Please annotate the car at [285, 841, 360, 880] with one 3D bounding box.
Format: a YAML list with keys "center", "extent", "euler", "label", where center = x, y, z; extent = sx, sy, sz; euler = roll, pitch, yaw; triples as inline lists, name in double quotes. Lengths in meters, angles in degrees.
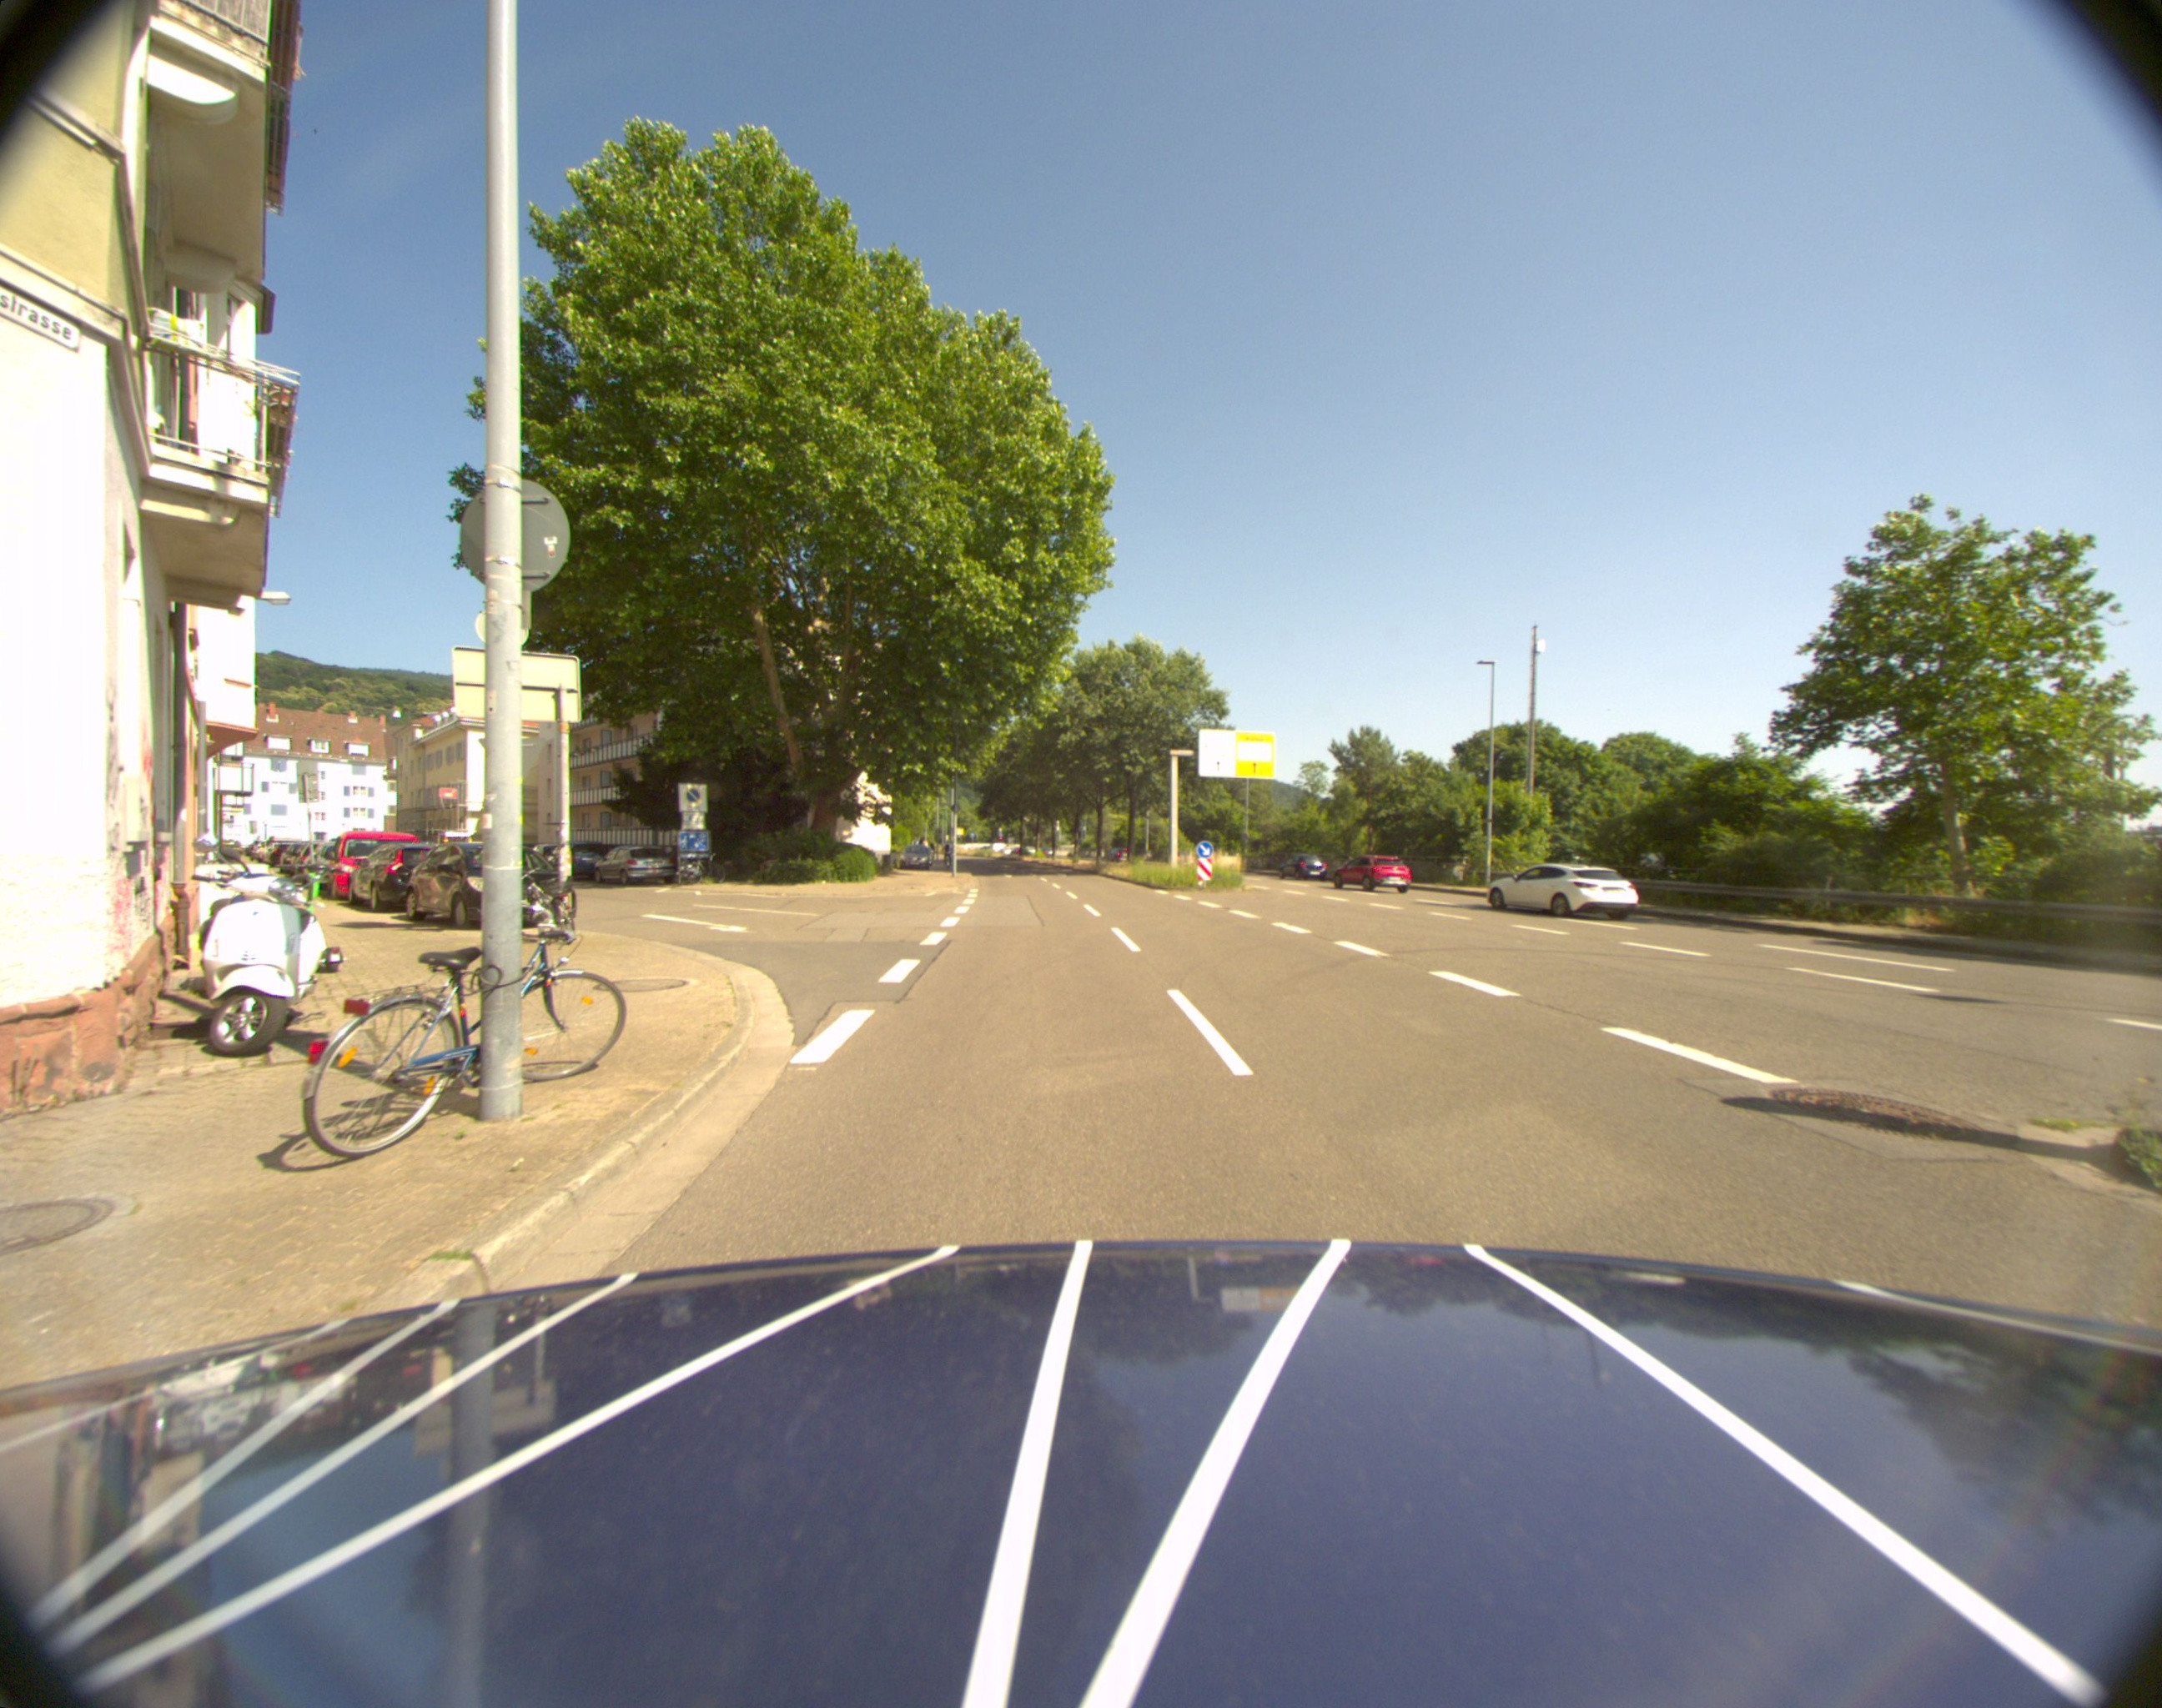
- center: [-31.727, 0.238, 31.756]
  extent: [3.988, 1.477, 1.873]
  euler: [1, 1, 40]
  label: "car"

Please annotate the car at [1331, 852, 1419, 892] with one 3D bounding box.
- center: [12.410, 0.731, 32.313]
  extent: [1.803, 1.511, 3.961]
  euler: [2, 1, -7]
  label: "car"

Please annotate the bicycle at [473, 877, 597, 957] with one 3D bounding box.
- center: [-8.056, 0.891, 11.200]
  extent: [1.878, 1.028, 0.627]
  euler: [1, 1, 24]
  label: "bicycle"

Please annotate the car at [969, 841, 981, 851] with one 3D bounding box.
- center: [-19.586, -1.554, 140.029]
  extent: [1.636, 1.801, 3.586]
  euler: [1, 1, -17]
  label: "car"

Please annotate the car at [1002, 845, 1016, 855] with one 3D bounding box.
- center: [-11.882, -0.667, 125.252]
  extent: [1.636, 1.487, 3.674]
  euler: [0, 1, -17]
  label: "car"

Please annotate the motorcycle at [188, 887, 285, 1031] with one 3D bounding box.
- center: [-7.450, 0.866, 6.688]
  extent: [1.445, 1.088, 0.430]
  euler: [1, 0, 37]
  label: "motorcycle"

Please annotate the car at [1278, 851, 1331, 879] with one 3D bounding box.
- center: [12.988, 0.602, 44.414]
  extent: [1.646, 1.492, 3.647]
  euler: [2, 1, -6]
  label: "car"

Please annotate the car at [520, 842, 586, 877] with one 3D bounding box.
- center: [-24.519, 0.240, 35.249]
  extent: [3.660, 1.511, 1.758]
  euler: [1, 1, 43]
  label: "car"

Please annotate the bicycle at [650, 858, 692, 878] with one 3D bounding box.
- center: [-17.434, 0.609, 32.340]
  extent: [0.382, 0.829, 1.510]
  euler: [3, 1, 41]
  label: "bicycle"

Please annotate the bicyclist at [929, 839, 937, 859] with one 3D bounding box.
- center: [-14.578, -0.509, 75.071]
  extent: [0.648, 1.883, 0.838]
  euler: [1, 1, -17]
  label: "bicyclist"

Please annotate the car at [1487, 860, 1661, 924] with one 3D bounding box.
- center: [13.525, 0.973, 21.210]
  extent: [1.869, 1.444, 4.202]
  euler: [2, 1, -4]
  label: "car"

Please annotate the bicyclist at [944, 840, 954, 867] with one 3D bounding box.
- center: [-8.254, -0.038, 47.540]
  extent: [0.541, 1.624, 0.589]
  euler: [1, 1, -5]
  label: "bicyclist"

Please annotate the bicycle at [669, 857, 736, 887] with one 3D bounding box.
- center: [-13.396, 0.609, 26.916]
  extent: [0.970, 0.978, 1.902]
  euler: [2, 1, 38]
  label: "bicycle"

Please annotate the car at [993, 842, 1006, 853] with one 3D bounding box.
- center: [-14.207, -1.146, 131.811]
  extent: [1.636, 1.904, 3.674]
  euler: [1, 1, -16]
  label: "car"

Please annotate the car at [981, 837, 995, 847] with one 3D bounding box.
- center: [-18.471, -2.321, 150.651]
  extent: [2.002, 1.856, 3.993]
  euler: [2, 1, -18]
  label: "car"

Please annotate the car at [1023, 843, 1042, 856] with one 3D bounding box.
- center: [-7.144, -0.697, 112.057]
  extent: [2.001, 1.880, 3.993]
  euler: [0, 1, -17]
  label: "car"

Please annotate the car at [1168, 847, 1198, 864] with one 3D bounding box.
- center: [8.954, 0.116, 66.871]
  extent: [1.681, 1.461, 3.573]
  euler: [1, 1, -9]
  label: "car"

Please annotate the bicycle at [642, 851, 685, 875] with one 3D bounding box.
- center: [-18.187, 0.406, 33.111]
  extent: [0.455, 0.987, 1.579]
  euler: [3, 1, 41]
  label: "bicycle"

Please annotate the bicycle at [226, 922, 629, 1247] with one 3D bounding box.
- center: [-3.041, 0.974, 3.810]
  extent: [0.578, 1.081, 1.733]
  euler: [1, 1, -3]
  label: "bicycle"

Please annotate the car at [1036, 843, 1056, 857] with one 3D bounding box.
- center: [-4.767, -0.520, 104.105]
  extent: [2.001, 1.880, 3.994]
  euler: [0, 1, -13]
  label: "car"

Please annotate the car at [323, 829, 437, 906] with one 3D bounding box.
- center: [-18.710, 0.287, 20.223]
  extent: [4.213, 1.830, 1.876]
  euler: [1, 1, 43]
  label: "car"

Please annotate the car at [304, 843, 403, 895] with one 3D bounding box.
- center: [-23.046, 0.403, 24.037]
  extent: [3.988, 1.477, 1.873]
  euler: [1, 1, 41]
  label: "car"

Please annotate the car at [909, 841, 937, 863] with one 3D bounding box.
- center: [-11.938, -0.176, 57.123]
  extent: [1.648, 1.565, 3.993]
  euler: [0, 1, -18]
  label: "car"

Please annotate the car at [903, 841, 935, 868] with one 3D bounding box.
- center: [-9.659, 0.012, 45.396]
  extent: [1.794, 1.504, 3.888]
  euler: [0, 1, -12]
  label: "car"

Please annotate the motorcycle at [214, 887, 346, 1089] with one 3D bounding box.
- center: [-5.779, 0.873, 5.548]
  extent: [0.475, 1.143, 1.759]
  euler: [2, 1, -41]
  label: "motorcycle"

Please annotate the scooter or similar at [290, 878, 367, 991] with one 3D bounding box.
- center: [-8.301, 0.846, 8.368]
  extent: [1.443, 1.121, 0.275]
  euler: [1, 0, 32]
  label: "scooter or similar"

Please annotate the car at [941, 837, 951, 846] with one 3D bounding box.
- center: [-29.364, -2.713, 165.553]
  extent: [1.636, 1.801, 3.586]
  euler: [2, 0, -17]
  label: "car"

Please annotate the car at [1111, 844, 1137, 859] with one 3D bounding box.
- center: [4.937, -0.321, 88.003]
  extent: [1.924, 1.654, 4.306]
  euler: [1, 1, -12]
  label: "car"

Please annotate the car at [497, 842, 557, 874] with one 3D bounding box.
- center: [-27.955, 0.162, 38.310]
  extent: [3.660, 1.511, 1.758]
  euler: [1, 1, 43]
  label: "car"

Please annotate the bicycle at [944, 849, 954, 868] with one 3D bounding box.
- center: [-8.257, 0.271, 47.548]
  extent: [0.554, 1.182, 1.285]
  euler: [1, 1, -5]
  label: "bicycle"

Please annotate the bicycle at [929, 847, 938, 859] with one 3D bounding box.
- center: [-14.586, -0.126, 75.131]
  extent: [0.662, 1.116, 1.800]
  euler: [1, 1, -18]
  label: "bicycle"

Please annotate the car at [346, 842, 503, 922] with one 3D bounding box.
- center: [-14.703, 0.510, 16.955]
  extent: [4.051, 1.534, 1.992]
  euler: [1, 2, 40]
  label: "car"

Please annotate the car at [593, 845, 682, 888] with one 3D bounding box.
- center: [-16.344, 0.413, 27.934]
  extent: [3.783, 1.443, 1.814]
  euler: [1, 1, 43]
  label: "car"

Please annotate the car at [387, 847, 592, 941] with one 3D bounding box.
- center: [-10.796, 0.623, 13.823]
  extent: [3.757, 1.438, 1.831]
  euler: [1, 1, 34]
  label: "car"

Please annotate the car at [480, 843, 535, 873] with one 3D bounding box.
- center: [-30.978, 0.211, 41.025]
  extent: [3.660, 1.511, 1.758]
  euler: [1, 1, 43]
  label: "car"

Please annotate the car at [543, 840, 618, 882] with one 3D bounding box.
- center: [-20.748, 0.248, 31.467]
  extent: [3.768, 1.648, 1.758]
  euler: [1, 1, 43]
  label: "car"
